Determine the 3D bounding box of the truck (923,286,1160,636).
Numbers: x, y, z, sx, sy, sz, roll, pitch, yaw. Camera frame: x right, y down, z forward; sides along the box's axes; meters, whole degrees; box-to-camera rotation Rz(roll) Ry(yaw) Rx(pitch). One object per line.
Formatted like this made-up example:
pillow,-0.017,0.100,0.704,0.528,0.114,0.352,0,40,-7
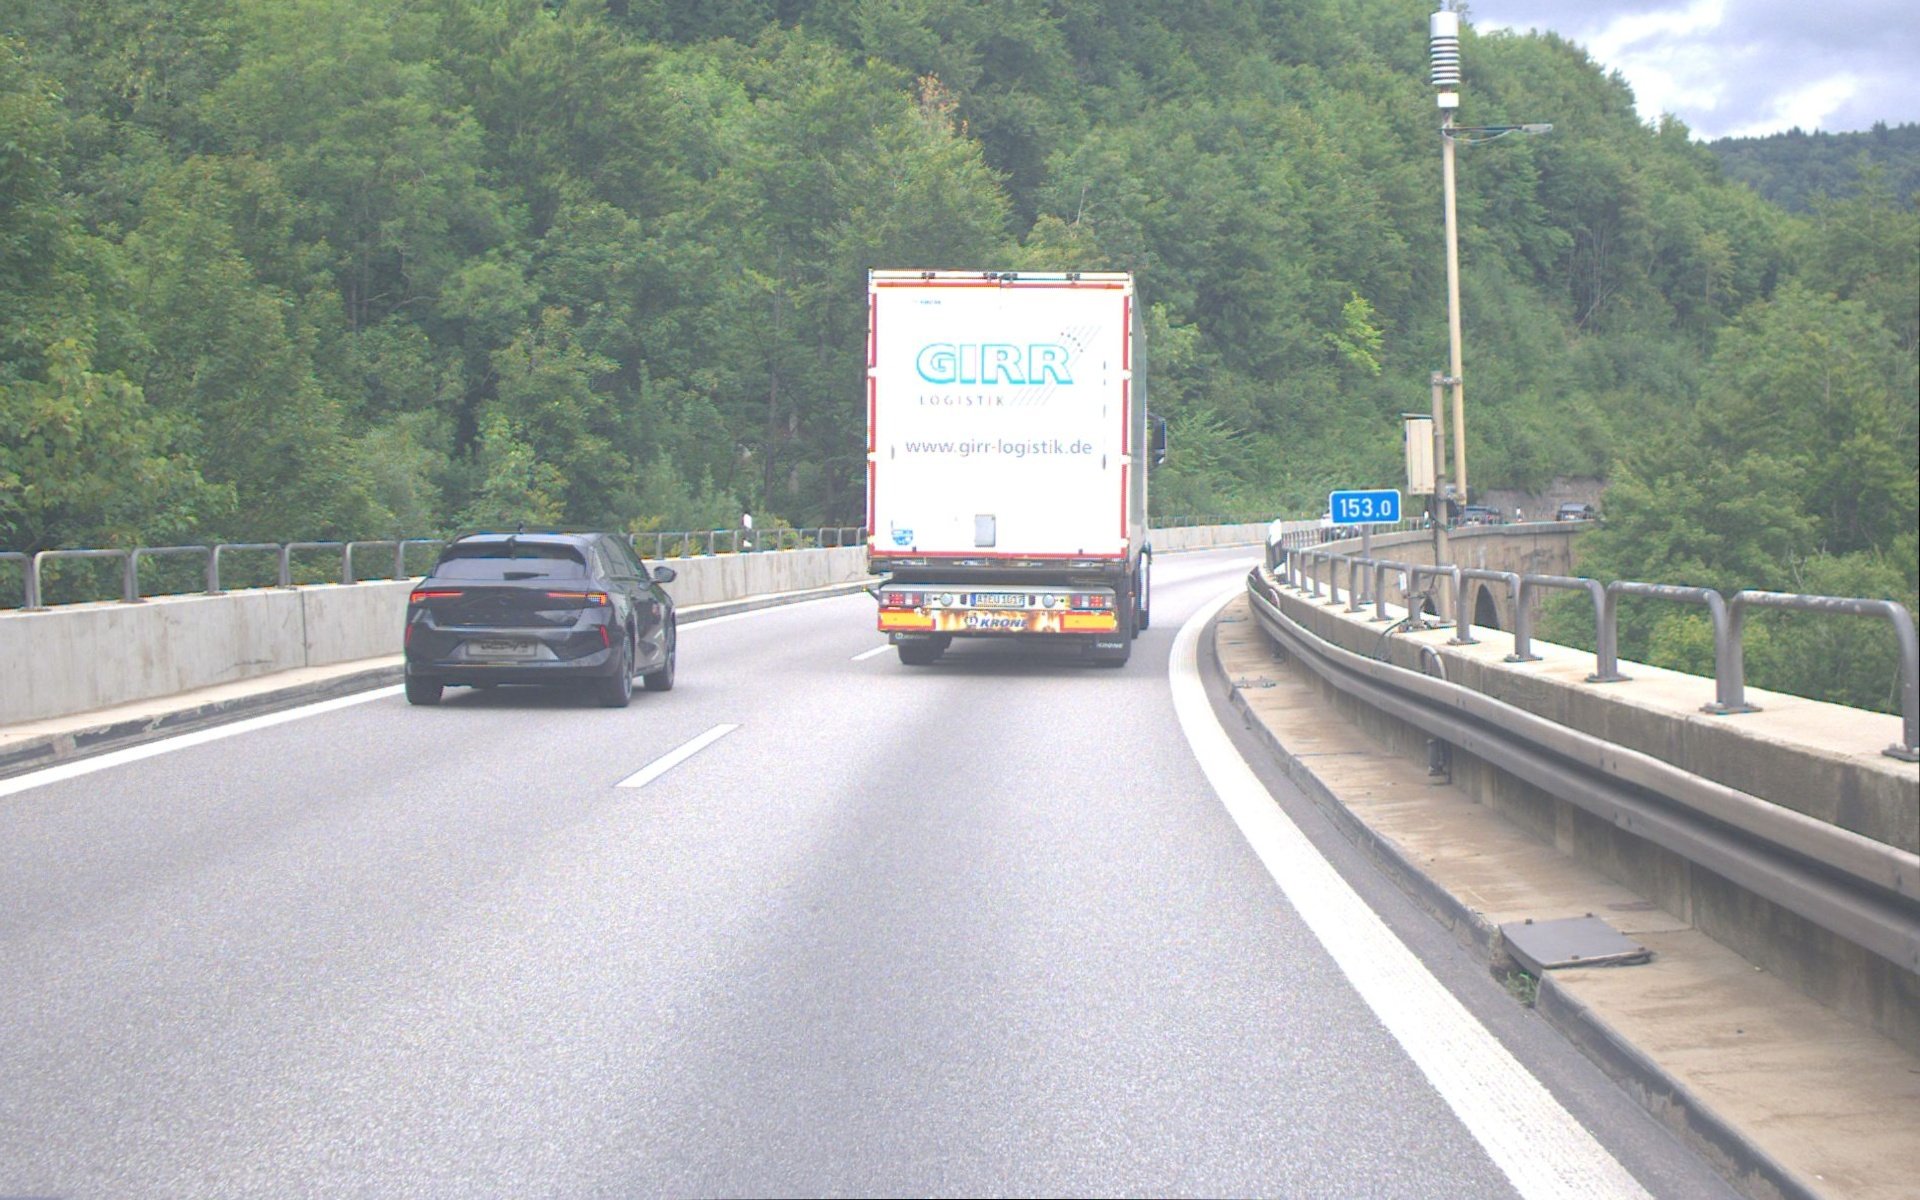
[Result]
truck,1.186,-1.748,45.560,2.814,4.288,6.258,0,1,4

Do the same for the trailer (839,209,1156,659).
trailer,0.707,-1.657,39.043,2.814,4.288,12.243,0,1,4

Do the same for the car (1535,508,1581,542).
car,32.528,-4.085,186.900,1.995,1.788,3.997,0,0,17

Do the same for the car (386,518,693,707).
car,-3.445,0.052,28.965,1.773,1.456,4.581,0,1,3
